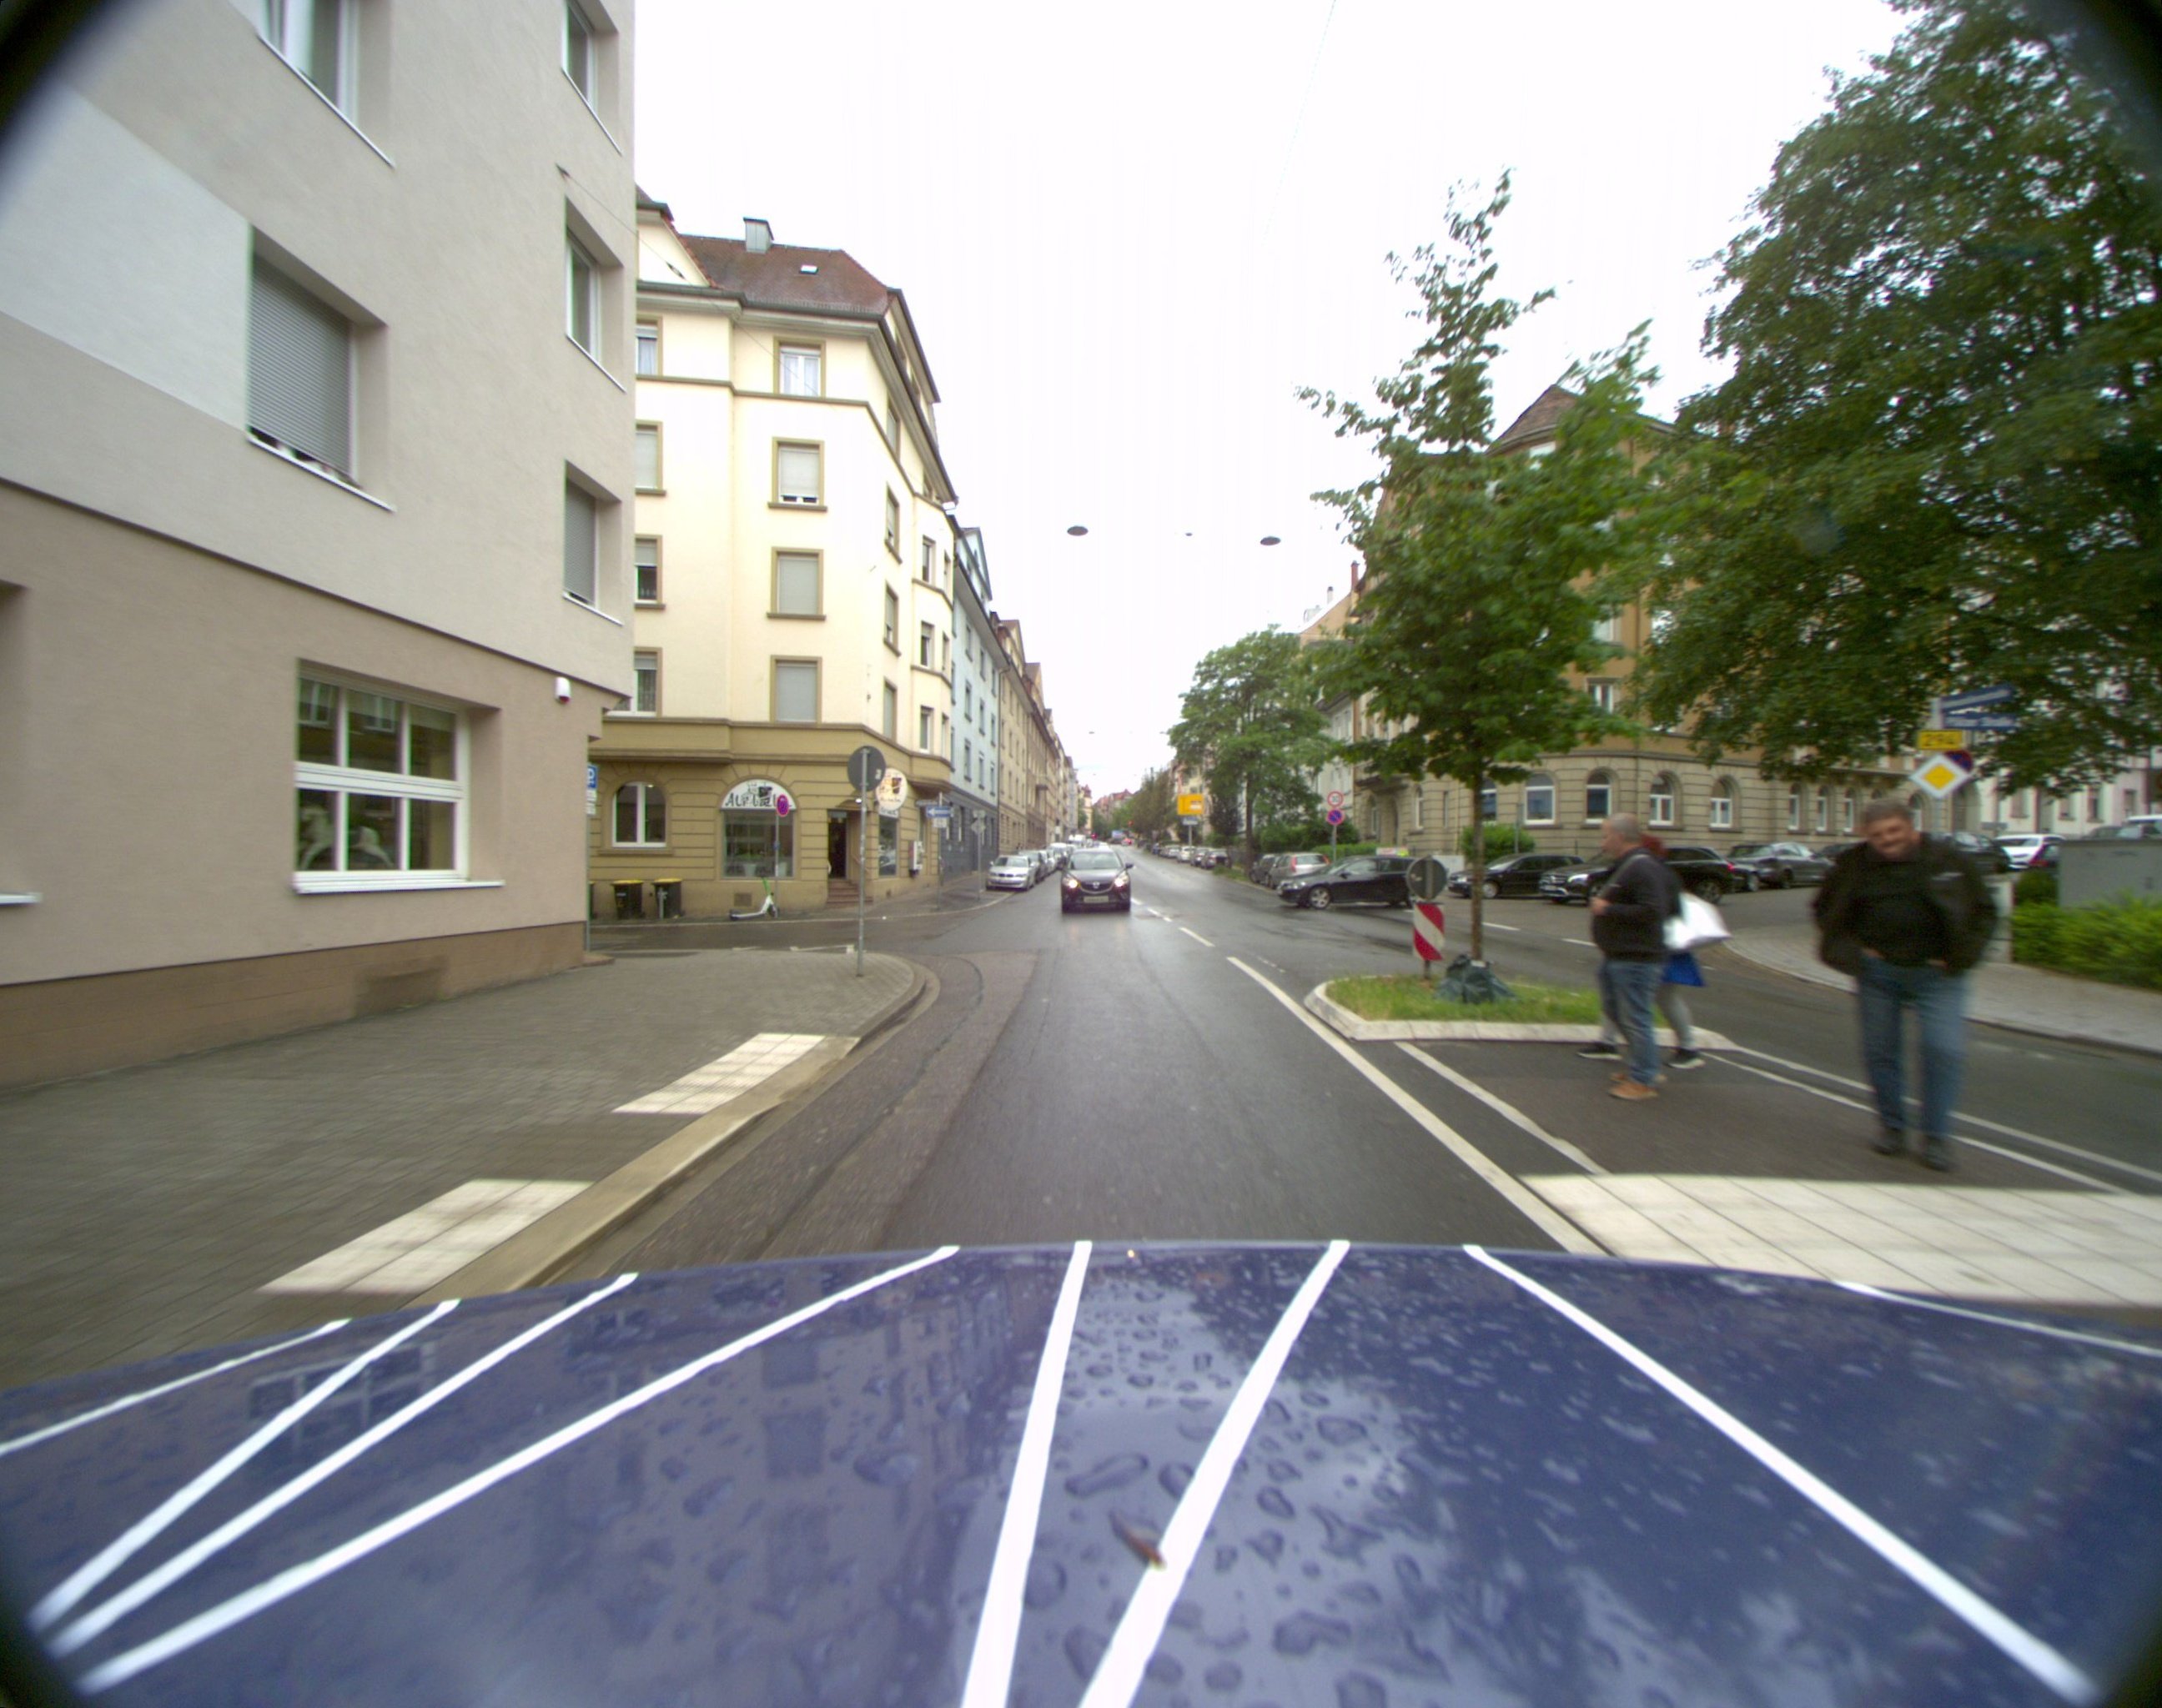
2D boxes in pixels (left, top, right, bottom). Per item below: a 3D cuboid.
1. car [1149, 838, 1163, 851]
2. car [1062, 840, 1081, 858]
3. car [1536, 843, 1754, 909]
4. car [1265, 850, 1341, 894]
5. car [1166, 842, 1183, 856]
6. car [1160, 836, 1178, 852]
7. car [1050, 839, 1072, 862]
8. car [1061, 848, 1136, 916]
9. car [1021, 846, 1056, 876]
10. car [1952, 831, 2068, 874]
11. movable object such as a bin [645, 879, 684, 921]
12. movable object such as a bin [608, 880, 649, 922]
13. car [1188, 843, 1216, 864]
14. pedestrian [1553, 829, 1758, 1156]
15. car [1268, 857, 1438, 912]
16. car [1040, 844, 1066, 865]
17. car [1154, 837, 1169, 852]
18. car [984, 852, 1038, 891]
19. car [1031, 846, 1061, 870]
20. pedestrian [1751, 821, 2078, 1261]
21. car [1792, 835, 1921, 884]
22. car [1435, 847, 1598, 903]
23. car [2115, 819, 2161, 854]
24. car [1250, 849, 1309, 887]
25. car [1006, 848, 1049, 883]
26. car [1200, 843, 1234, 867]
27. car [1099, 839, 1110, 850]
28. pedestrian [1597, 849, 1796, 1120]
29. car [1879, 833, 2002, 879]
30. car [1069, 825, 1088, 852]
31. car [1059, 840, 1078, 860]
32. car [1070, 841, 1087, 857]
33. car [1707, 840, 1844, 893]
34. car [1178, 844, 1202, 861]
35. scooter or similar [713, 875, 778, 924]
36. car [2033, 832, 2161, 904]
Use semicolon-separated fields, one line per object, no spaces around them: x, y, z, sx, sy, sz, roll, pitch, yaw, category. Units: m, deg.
10.937;-1.402;110.519;1.640;1.871;3.658;-1;1;1;car
-1.031;-0.543;83.490;1.998;1.871;3.999;-1;1;1;car
15.149;0.580;20.565;4.600;1.637;1.811;-1;0;-2;car
8.596;0.648;29.760;1.813;1.507;3.676;-3;1;0;car
10.466;-0.556;85.160;1.558;1.507;3.393;-3;1;1;car
10.417;-1.161;90.017;1.640;1.871;3.658;-1;1;1;car
-1.725;-0.321;65.664;1.733;1.887;3.550;-1;1;0;car
0.395;0.686;21.217;1.856;1.646;4.203;-1;1;-1;car
-2.414;0.377;43.818;1.776;1.583;3.550;-1;1;0;car
38.784;-0.099;31.732;4.004;1.674;1.996;-1;1;-23;car
-11.352;1.256;20.742;0.677;1.070;0.703;-1;3;-6;movable object such as a bin
-12.357;1.277;20.765;0.677;1.070;0.703;-1;3;-6;movable object such as a bin
9.365;-0.029;59.024;1.672;1.507;3.393;-3;1;1;car
3.295;0.743;4.424;0.611;1.738;0.698;2;1;2;pedestrian
7.405;0.811;20.944;3.998;1.412;1.811;-1;0;-2;car
-1.989;0.005;54.715;1.733;1.486;3.550;-1;1;0;car
10.483;-1.262;99.269;1.640;1.871;3.658;-1;1;1;car
-2.891;0.693;32.145;1.856;1.456;4.204;-1;1;0;car
-2.206;0.232;48.691;1.733;1.486;3.550;-1;1;0;car
3.995;0.759;3.650;1.066;1.738;0.852;3;0;-34;pedestrian
28.653;0.171;28.085;4.004;1.674;1.996;-1;1;-23;car
13.573;0.634;23.930;3.995;1.674;2.001;0;1;7;car
53.440;-0.859;37.458;4.004;1.674;1.996;-1;1;-23;car
8.809;0.571;33.956;1.672;1.507;3.393;-3;1;0;car
-2.587;0.517;37.735;1.817;1.583;3.894;-1;1;0;car
9.494;0.034;53.212;1.672;1.507;3.696;-3;1;1;car
3.826;-1.568;123.684;1.796;1.768;3.903;-1;1;1;car
4.087;0.805;5.119;0.790;1.656;0.699;2;1;17;pedestrian
33.656;0.040;29.768;4.004;1.674;1.996;-1;1;-23;car
-0.302;-2.115;107.512;2.554;3.613;9.049;-1;1;1;car
-1.173;-0.415;71.978;1.719;1.871;3.907;-1;1;1;car
-0.252;-0.676;92.603;1.998;1.871;3.999;-1;1;1;car
23.928;0.373;26.194;4.004;1.674;1.996;-1;1;-23;car
9.913;-0.162;69.254;1.672;1.507;3.393;-3;1;1;car
-8.906;1.193;20.206;1.482;1.144;0.486;-3;7;-36;scooter or similar
28.796;0.320;21.048;4.004;1.674;1.996;-3;2;-23;car
